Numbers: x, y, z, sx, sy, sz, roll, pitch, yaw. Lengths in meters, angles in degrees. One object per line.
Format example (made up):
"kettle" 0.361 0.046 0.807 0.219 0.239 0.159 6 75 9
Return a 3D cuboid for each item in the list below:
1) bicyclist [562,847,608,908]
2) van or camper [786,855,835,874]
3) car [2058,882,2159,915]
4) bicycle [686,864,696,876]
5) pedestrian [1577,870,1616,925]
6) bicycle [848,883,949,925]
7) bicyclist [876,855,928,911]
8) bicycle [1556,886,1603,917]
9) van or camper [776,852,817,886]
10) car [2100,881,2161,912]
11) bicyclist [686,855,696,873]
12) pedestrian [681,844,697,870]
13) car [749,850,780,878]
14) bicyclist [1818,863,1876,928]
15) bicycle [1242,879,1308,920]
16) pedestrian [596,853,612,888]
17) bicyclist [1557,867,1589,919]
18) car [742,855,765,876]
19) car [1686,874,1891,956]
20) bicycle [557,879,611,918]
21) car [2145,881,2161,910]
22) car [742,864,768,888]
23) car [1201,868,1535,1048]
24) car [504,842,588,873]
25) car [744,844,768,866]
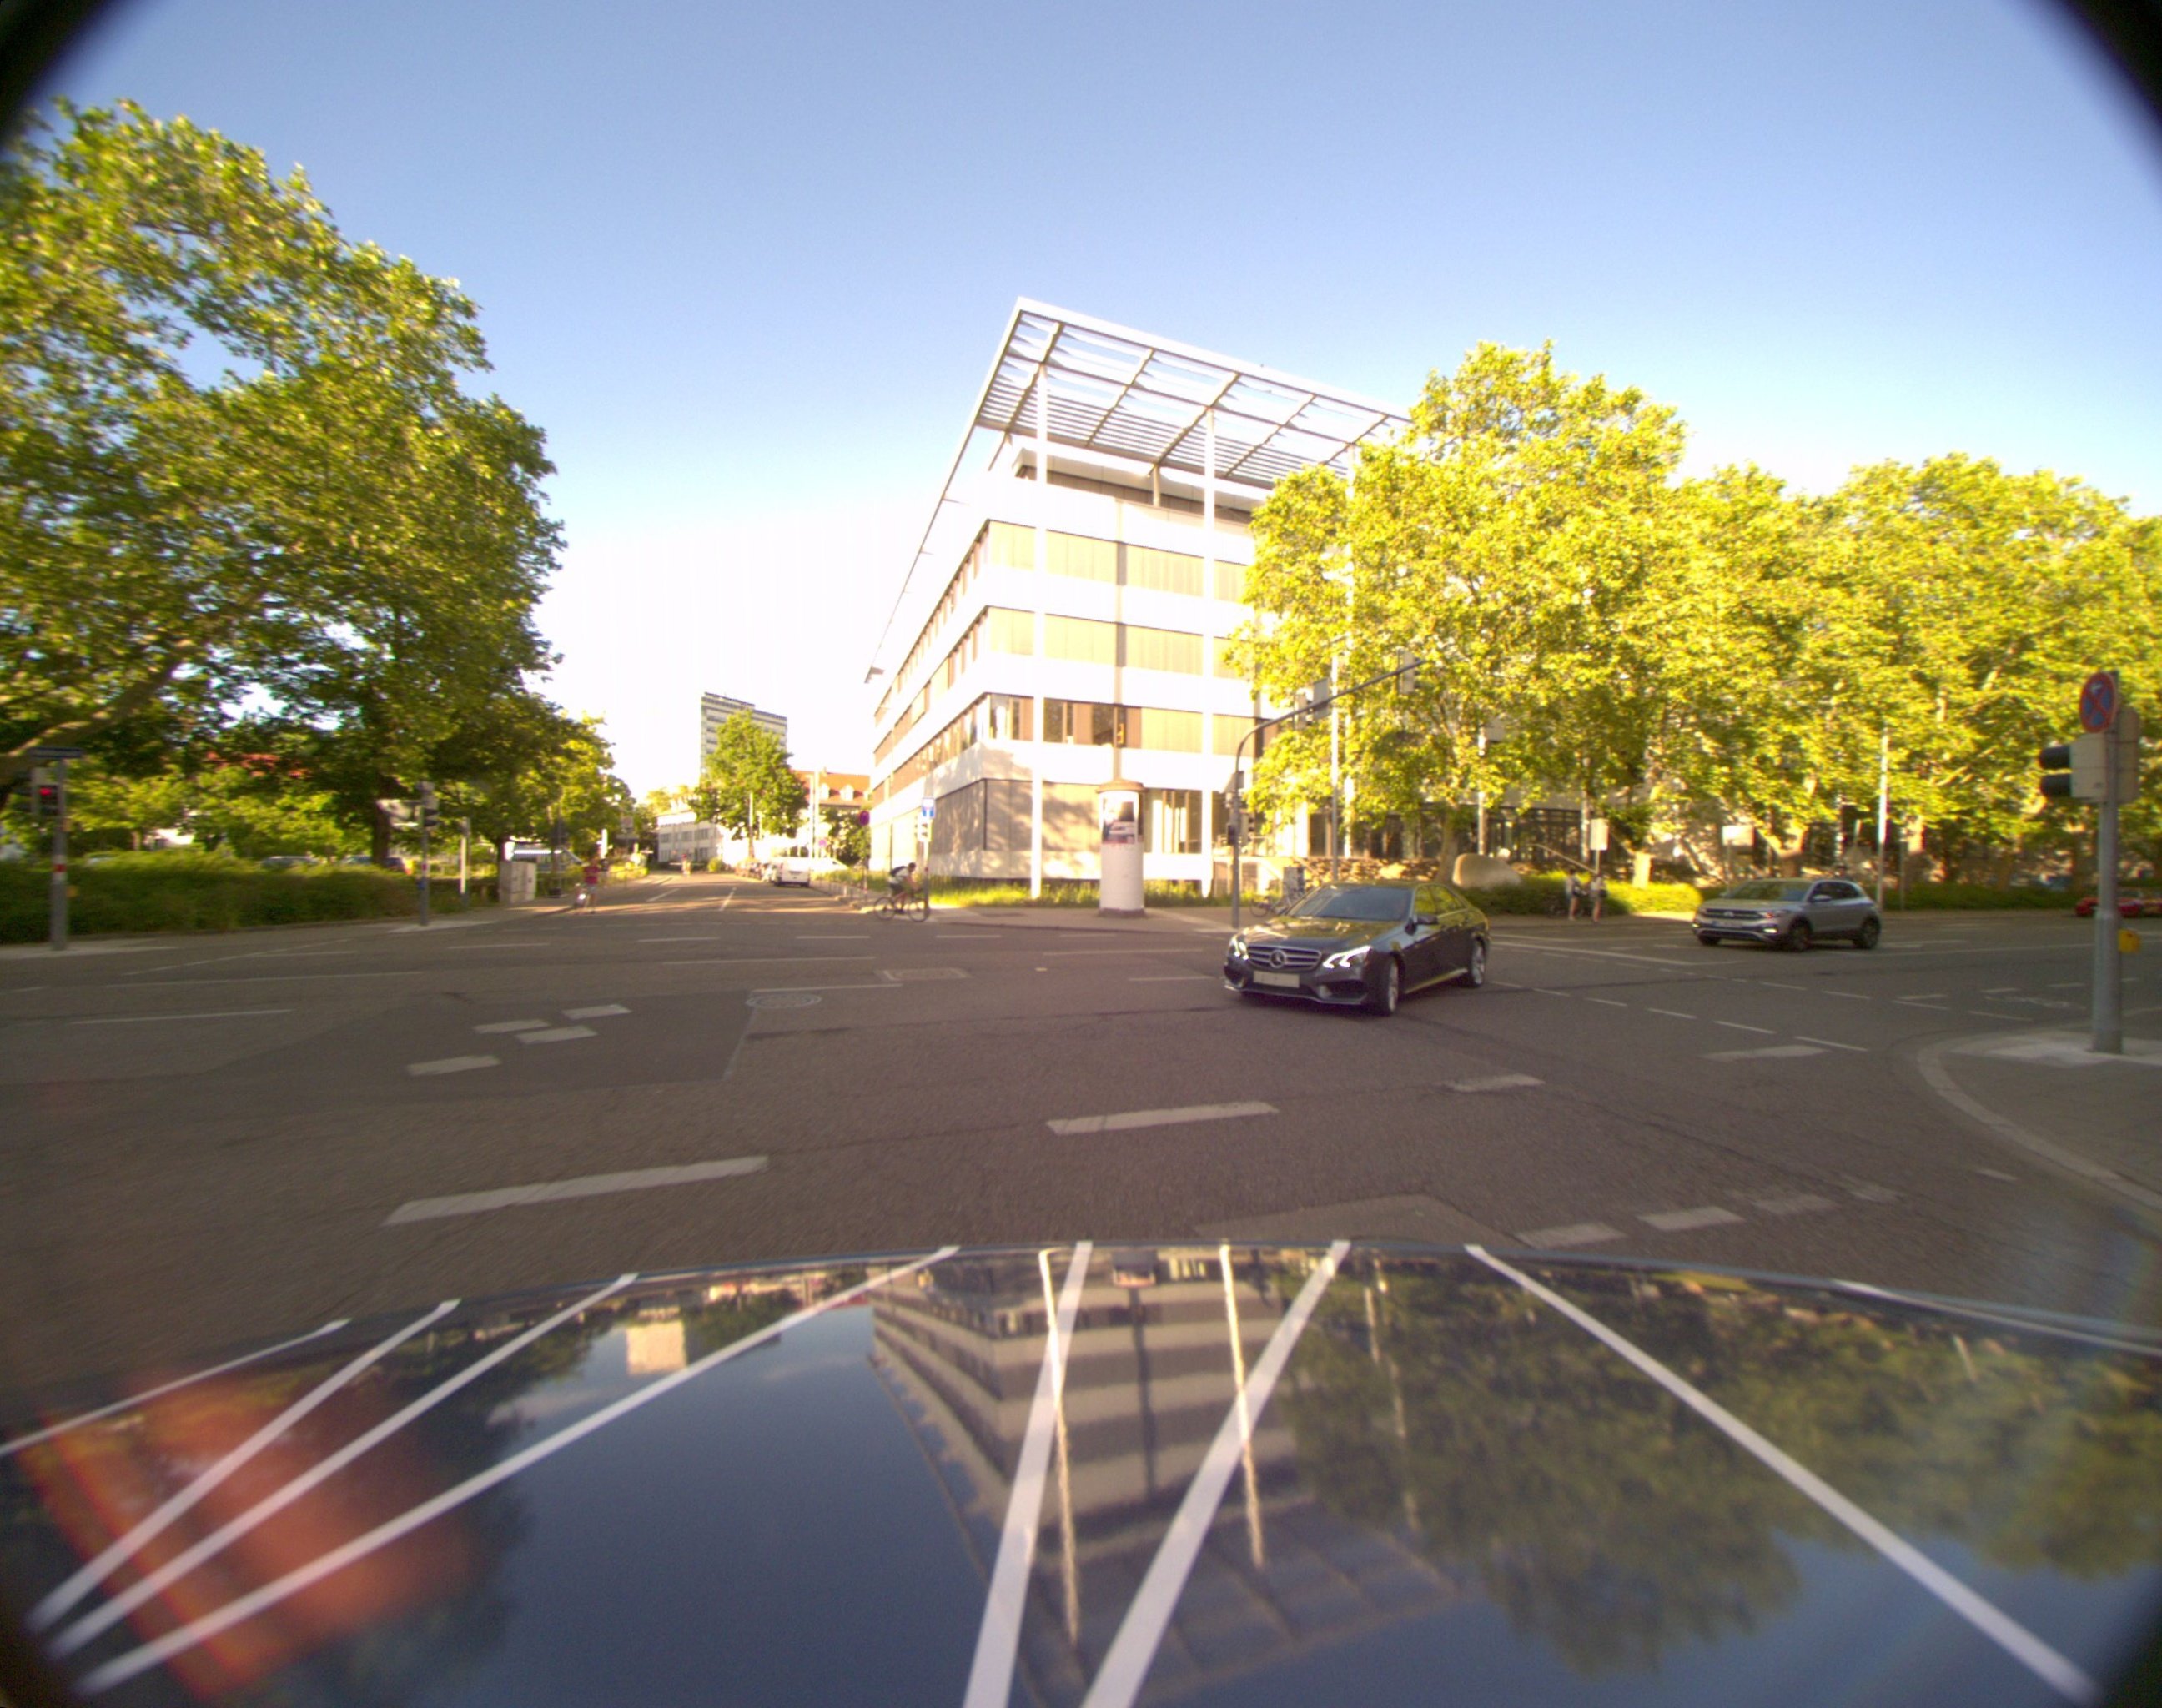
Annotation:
"bicyclist" -15.052 0.691 23.079 0.979 1.797 1.129 0 0 -24
"van or camper" -29.592 1.161 83.101 4.741 2.074 1.995 0 0 -34
"car" 48.167 2.045 35.611 4.082 1.435 1.896 1 -1 -23
"bicycle" -33.602 1.363 65.435 0.763 0.944 3.051 0 -1 -27
"pedestrian" 16.922 1.407 24.953 0.693 1.709 0.774 -1 2 -22
"bicycle" -5.303 1.445 22.168 2.655 1.045 0.983 2 0 10
"bicyclist" -5.214 0.833 22.162 1.124 1.536 0.954 2 0 10
"bicycle" 17.065 1.619 26.006 1.649 1.028 0.521 0 0 -22
"van or camper" -17.920 0.894 47.764 2.165 2.002 4.967 1 0 -24
"car" 52.563 2.059 37.344 4.081 1.439 1.896 1 -1 -20
"bicyclist" -33.614 0.845 65.484 0.763 1.583 0.899 0 0 -27
"pedestrian" -50.519 0.424 97.953 1.463 3.289 1.402 0 0 -41
"car" -23.552 0.750 56.464 2.003 2.001 3.992 0 -1 -24
"bicyclist" 21.024 1.120 20.868 0.902 1.723 0.769 0 2 -22
"bicycle" 6.124 1.415 24.040 1.987 1.175 0.471 0 0 39
"pedestrian" -25.040 0.867 39.886 0.669 1.844 1.023 0 0 -33
"bicyclist" 16.640 1.299 25.712 0.655 1.704 0.633 -1 2 -22
"car" -32.532 1.129 75.468 2.003 2.001 3.993 0 -2 -24
"car" 15.493 1.261 16.644 4.004 1.594 1.745 1 0 -22
"bicycle" -15.138 1.322 23.225 0.944 1.032 3.000 0 -1 -24
"car" 57.671 2.166 39.406 4.081 1.442 1.896 1 -1 -20
"car" -28.318 1.836 65.887 2.003 2.001 3.992 0 -1 -24
"car" 3.819 1.084 9.621 4.727 1.460 1.795 -4 0 -40
"car" -37.204 0.285 52.985 4.573 2.101 1.996 0 0 -28
"car" -30.605 0.134 71.444 2.003 2.001 3.992 0 -1 -24
